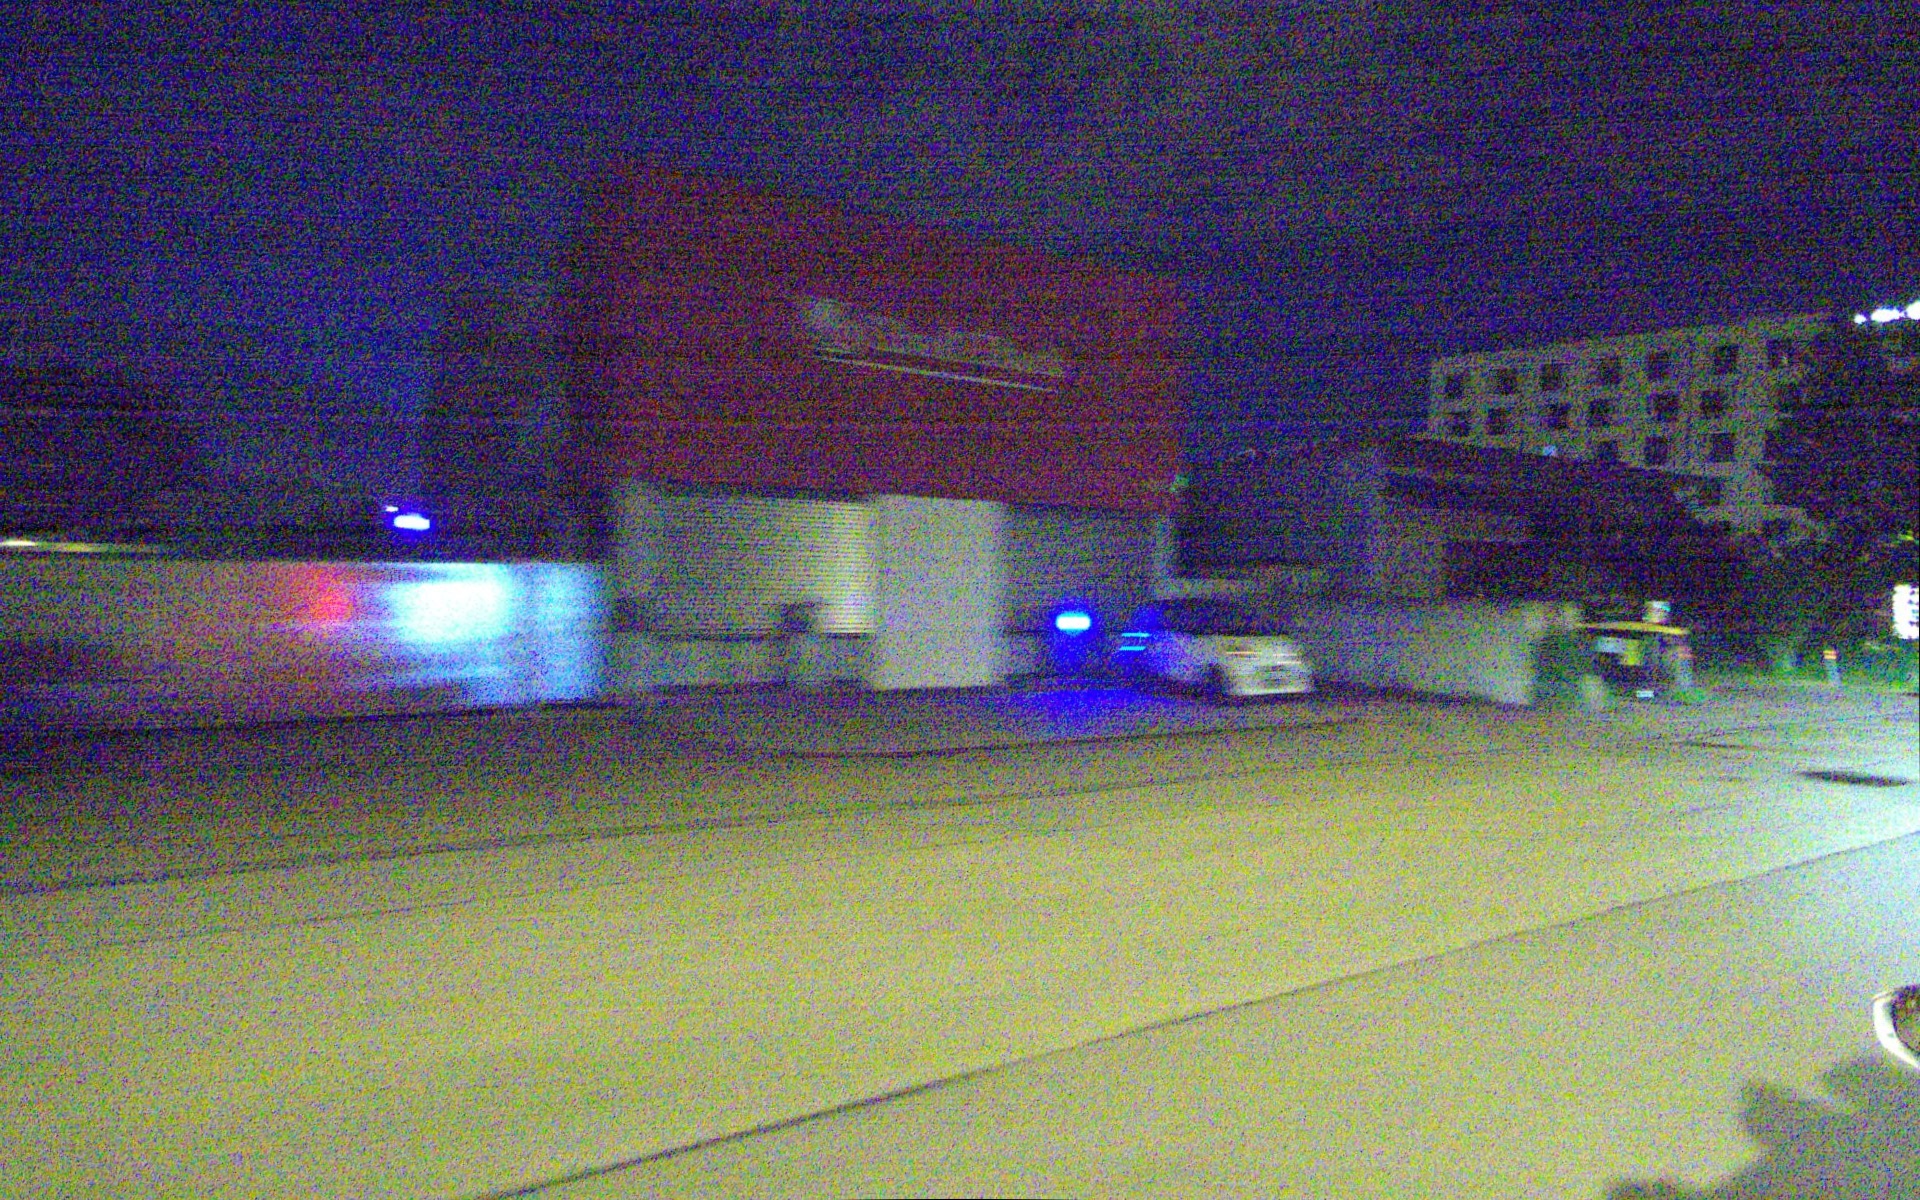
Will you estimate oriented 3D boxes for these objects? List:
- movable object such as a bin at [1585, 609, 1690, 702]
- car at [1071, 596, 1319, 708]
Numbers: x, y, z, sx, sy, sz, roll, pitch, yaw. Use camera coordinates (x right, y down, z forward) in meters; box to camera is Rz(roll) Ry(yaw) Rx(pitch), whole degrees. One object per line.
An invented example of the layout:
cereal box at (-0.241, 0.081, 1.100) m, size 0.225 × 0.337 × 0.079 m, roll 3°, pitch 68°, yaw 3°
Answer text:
movable object such as a bin at (11.637, 0.928, 17.267) m, size 1.054 × 1.516 × 1.158 m, roll 1°, pitch 0°, yaw -32°
car at (3.707, 0.780, 16.546) m, size 1.795 × 1.592 × 3.969 m, roll 1°, pitch -1°, yaw -29°
